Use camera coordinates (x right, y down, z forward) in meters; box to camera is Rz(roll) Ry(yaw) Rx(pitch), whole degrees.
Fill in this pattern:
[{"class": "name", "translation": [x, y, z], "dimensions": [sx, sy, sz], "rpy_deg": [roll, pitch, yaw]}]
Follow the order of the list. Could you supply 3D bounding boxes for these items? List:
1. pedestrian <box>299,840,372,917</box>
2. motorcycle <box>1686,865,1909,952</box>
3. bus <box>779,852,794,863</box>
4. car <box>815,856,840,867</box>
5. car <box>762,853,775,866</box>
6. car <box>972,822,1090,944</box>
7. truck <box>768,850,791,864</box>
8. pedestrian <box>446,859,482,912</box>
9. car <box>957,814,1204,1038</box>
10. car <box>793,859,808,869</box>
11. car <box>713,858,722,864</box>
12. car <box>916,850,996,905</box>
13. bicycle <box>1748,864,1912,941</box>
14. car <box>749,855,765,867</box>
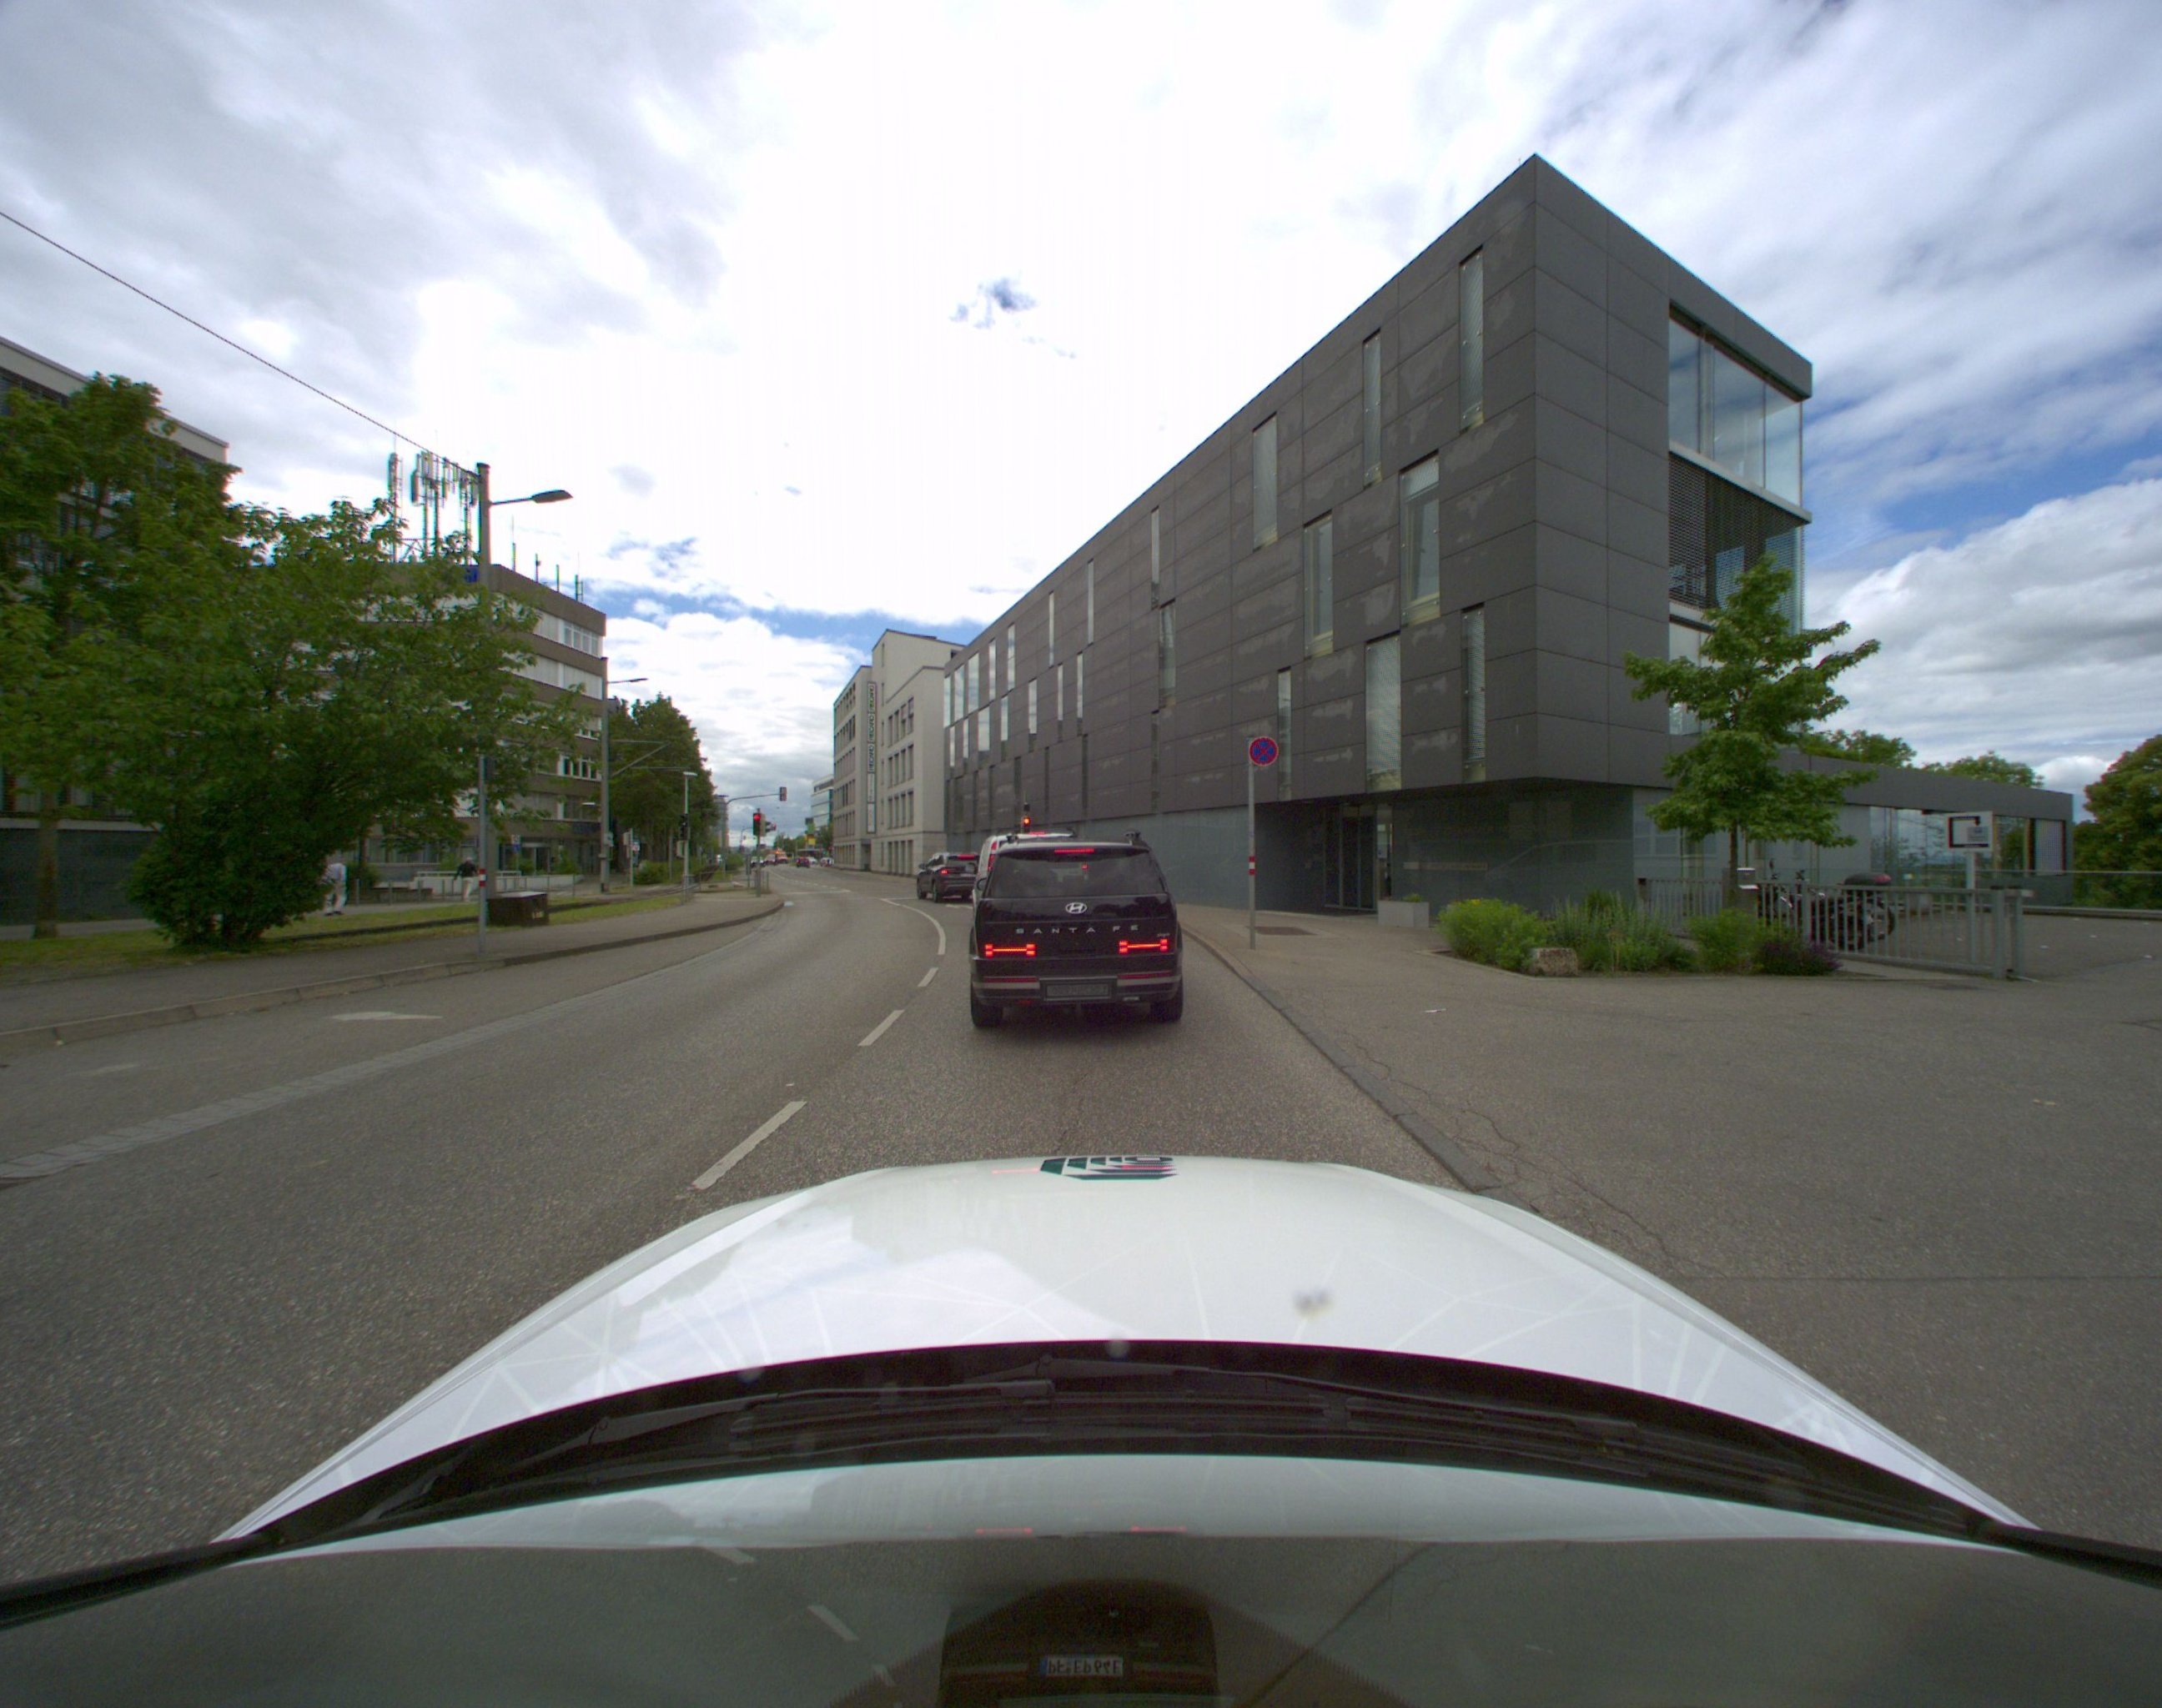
[{"class": "pedestrian", "translation": [-20.475, 0.661, 22.396], "dimensions": [1.048, 2.014, 0.914], "rpy_deg": [2, -1, 2]}, {"class": "motorcycle", "translation": [11.804, 0.834, 13.579], "dimensions": [0.850, 1.260, 2.672], "rpy_deg": [0, 0, -25]}, {"class": "bus", "translation": [-81.675, 0.843, 225.753], "dimensions": [3.096, 2.928, 10.261], "rpy_deg": [1, 0, -24]}, {"class": "car", "translation": [-42.956, 1.249, 138.145], "dimensions": [3.948, 1.759, 1.869], "rpy_deg": [0, 0, 32]}, {"class": "car", "translation": [-50.316, 0.866, 131.182], "dimensions": [1.856, 1.923, 3.976], "rpy_deg": [0, 0, -18]}, {"class": "car", "translation": [-1.128, 0.471, 15.952], "dimensions": [1.855, 2.033, 4.422], "rpy_deg": [0, 0, -10]}, {"class": "truck", "translation": [-60.299, 0.548, 162.829], "dimensions": [2.592, 2.825, 6.915], "rpy_deg": [0, 0, -35]}, {"class": "pedestrian", "translation": [-23.984, 1.204, 31.667], "dimensions": [0.768, 2.014, 0.885], "rpy_deg": [3, -1, -17]}, {"class": "car", "translation": [-0.043, 0.570, 8.500], "dimensions": [1.910, 1.725, 4.168], "rpy_deg": [1, 0, -1]}, {"class": "car", "translation": [-41.673, 1.447, 121.202], "dimensions": [1.903, 1.486, 3.978], "rpy_deg": [0, 0, -16]}, {"class": "car", "translation": [-102.161, 1.995, 229.105], "dimensions": [1.927, 1.725, 4.131], "rpy_deg": [1, 0, -30]}, {"class": "car", "translation": [-4.373, 0.771, 27.930], "dimensions": [1.854, 1.677, 4.344], "rpy_deg": [-1, 0, -21]}, {"class": "bicycle", "translation": [13.388, 0.821, 14.649], "dimensions": [0.617, 1.260, 2.085], "rpy_deg": [0, 0, -25]}, {"class": "car", "translation": [-45.624, 0.985, 114.726], "dimensions": [1.856, 1.695, 3.977], "rpy_deg": [0, 0, -17]}]
